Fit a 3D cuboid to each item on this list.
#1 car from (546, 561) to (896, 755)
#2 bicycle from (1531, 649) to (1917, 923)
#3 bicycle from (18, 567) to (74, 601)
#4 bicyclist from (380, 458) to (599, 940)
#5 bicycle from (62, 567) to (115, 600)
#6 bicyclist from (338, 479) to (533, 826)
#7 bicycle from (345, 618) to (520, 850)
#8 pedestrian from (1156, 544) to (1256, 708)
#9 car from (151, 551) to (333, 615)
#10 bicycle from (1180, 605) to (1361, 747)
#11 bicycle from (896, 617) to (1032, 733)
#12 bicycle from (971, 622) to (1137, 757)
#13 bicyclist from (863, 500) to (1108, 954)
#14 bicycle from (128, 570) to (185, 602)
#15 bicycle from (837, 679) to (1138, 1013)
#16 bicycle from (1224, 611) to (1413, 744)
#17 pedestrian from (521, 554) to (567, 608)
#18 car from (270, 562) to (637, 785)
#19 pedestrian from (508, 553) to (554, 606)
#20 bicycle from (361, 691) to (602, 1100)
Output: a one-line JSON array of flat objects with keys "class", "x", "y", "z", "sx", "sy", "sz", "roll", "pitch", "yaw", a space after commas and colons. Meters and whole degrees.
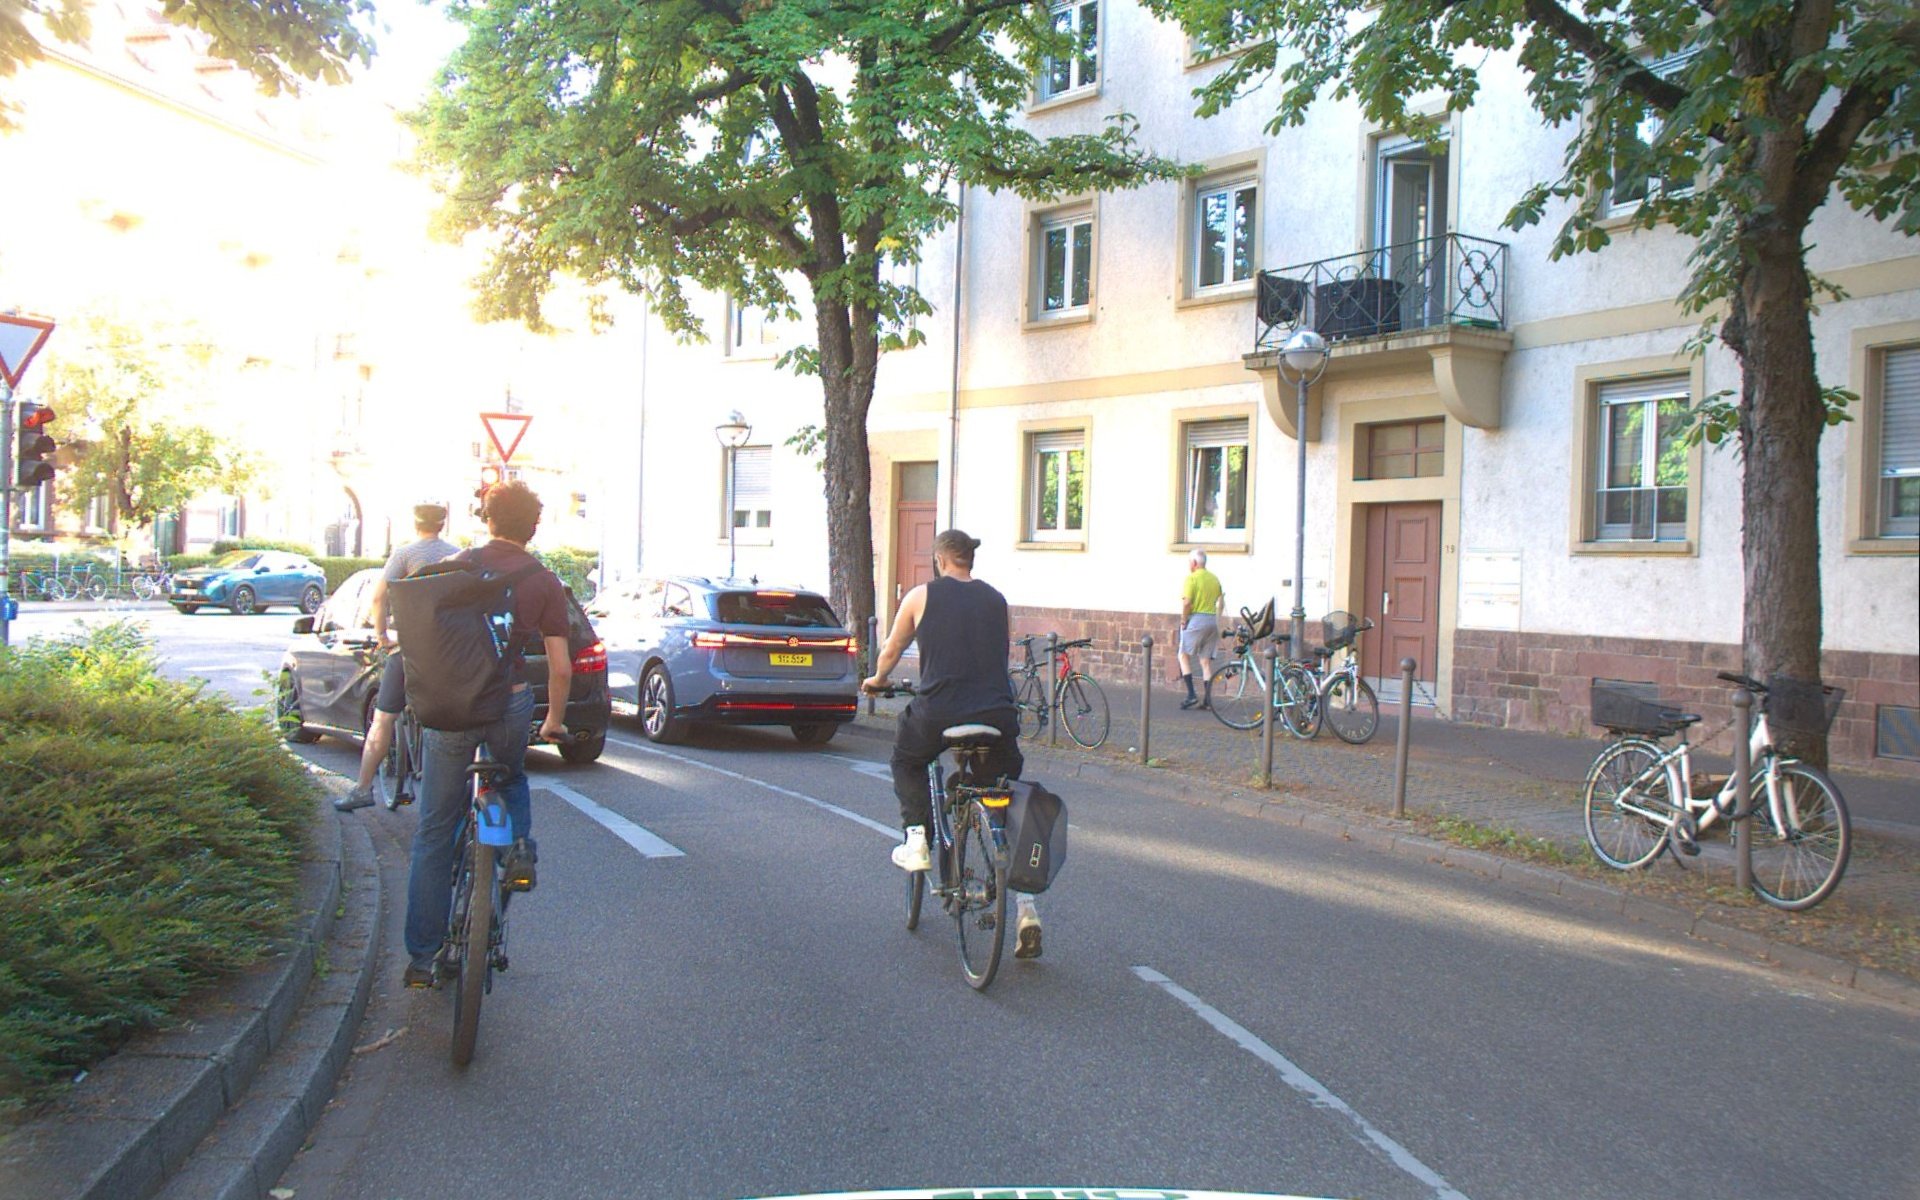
[{"class": "car", "x": -2.460, "y": 0.473, "z": 16.177, "sx": 1.874, "sy": 1.605, "sz": 3.954, "roll": 2, "pitch": 1, "yaw": -33}, {"class": "bicycle", "x": 3.890, "y": 0.884, "z": 8.625, "sx": 0.607, "sy": 1.132, "sz": 1.980, "roll": -2, "pitch": 2, "yaw": -20}, {"class": "bicycle", "x": -24.205, "y": -0.416, "z": 43.818, "sx": 0.441, "sy": 0.876, "sz": 1.221, "roll": 2, "pitch": 0, "yaw": 32}, {"class": "bicyclist", "x": -1.648, "y": 0.317, "z": 5.880, "sx": 0.660, "sy": 1.541, "sz": 1.065, "roll": 1, "pitch": 0, "yaw": -14}, {"class": "bicycle", "x": -23.645, "y": -0.444, "z": 44.887, "sx": 0.441, "sy": 0.876, "sz": 1.221, "roll": 2, "pitch": 0, "yaw": 32}, {"class": "bicyclist", "x": -3.164, "y": 0.283, "z": 9.929, "sx": 0.842, "sy": 1.931, "sz": 1.127, "roll": 1, "pitch": 1, "yaw": -32}, {"class": "bicycle", "x": -3.230, "y": 0.745, "z": 10.003, "sx": 0.591, "sy": 1.182, "sz": 2.022, "roll": 2, "pitch": 1, "yaw": -29}, {"class": "pedestrian", "x": 2.818, "y": 0.278, "z": 18.947, "sx": 0.990, "sy": 1.826, "sz": 0.649, "roll": -1, "pitch": 2, "yaw": -43}, {"class": "car", "x": -18.651, "y": -0.420, "z": 43.172, "sx": 1.952, "sy": 1.522, "sz": 4.377, "roll": 2, "pitch": 1, "yaw": 17}, {"class": "bicycle", "x": 2.907, "y": 0.675, "z": 15.717, "sx": 0.488, "sy": 1.192, "sz": 2.098, "roll": -2, "pitch": 2, "yaw": -28}, {"class": "bicycle", "x": 0.001, "y": 0.718, "z": 16.595, "sx": 0.513, "sy": 1.016, "sz": 2.175, "roll": 1, "pitch": 1, "yaw": -24}, {"class": "bicycle", "x": 0.833, "y": 0.783, "z": 15.248, "sx": 0.609, "sy": 1.076, "sz": 1.910, "roll": -1, "pitch": 2, "yaw": -29}, {"class": "bicyclist", "x": 0.080, "y": 0.478, "z": 6.762, "sx": 0.740, "sy": 1.711, "sz": 0.910, "roll": 2, "pitch": 1, "yaw": -15}, {"class": "bicycle", "x": -22.942, "y": -0.396, "z": 47.243, "sx": 0.441, "sy": 0.876, "sz": 1.443, "roll": 2, "pitch": 0, "yaw": 32}, {"class": "bicycle", "x": 0.033, "y": 0.913, "z": 6.885, "sx": 0.725, "sy": 1.029, "sz": 2.053, "roll": -1, "pitch": 1, "yaw": -15}, {"class": "bicycle", "x": 3.420, "y": 0.711, "z": 15.997, "sx": 0.575, "sy": 1.133, "sz": 2.098, "roll": 1, "pitch": 1, "yaw": -27}, {"class": "pedestrian", "x": -15.772, "y": -0.732, "z": 62.732, "sx": 1.133, "sy": 1.996, "sz": 1.388, "roll": 2, "pitch": 0, "yaw": 12}, {"class": "car", "x": -4.336, "y": 0.476, "z": 13.781, "sx": 1.798, "sy": 1.570, "sz": 3.909, "roll": -1, "pitch": 1, "yaw": -35}, {"class": "pedestrian", "x": -16.543, "y": -0.795, "z": 63.825, "sx": 1.133, "sy": 1.996, "sz": 1.388, "roll": 2, "pitch": 0, "yaw": 12}, {"class": "bicycle", "x": -1.647, "y": 0.912, "z": 5.854, "sx": 0.662, "sy": 1.072, "sz": 2.053, "roll": 1, "pitch": 0, "yaw": -14}]
